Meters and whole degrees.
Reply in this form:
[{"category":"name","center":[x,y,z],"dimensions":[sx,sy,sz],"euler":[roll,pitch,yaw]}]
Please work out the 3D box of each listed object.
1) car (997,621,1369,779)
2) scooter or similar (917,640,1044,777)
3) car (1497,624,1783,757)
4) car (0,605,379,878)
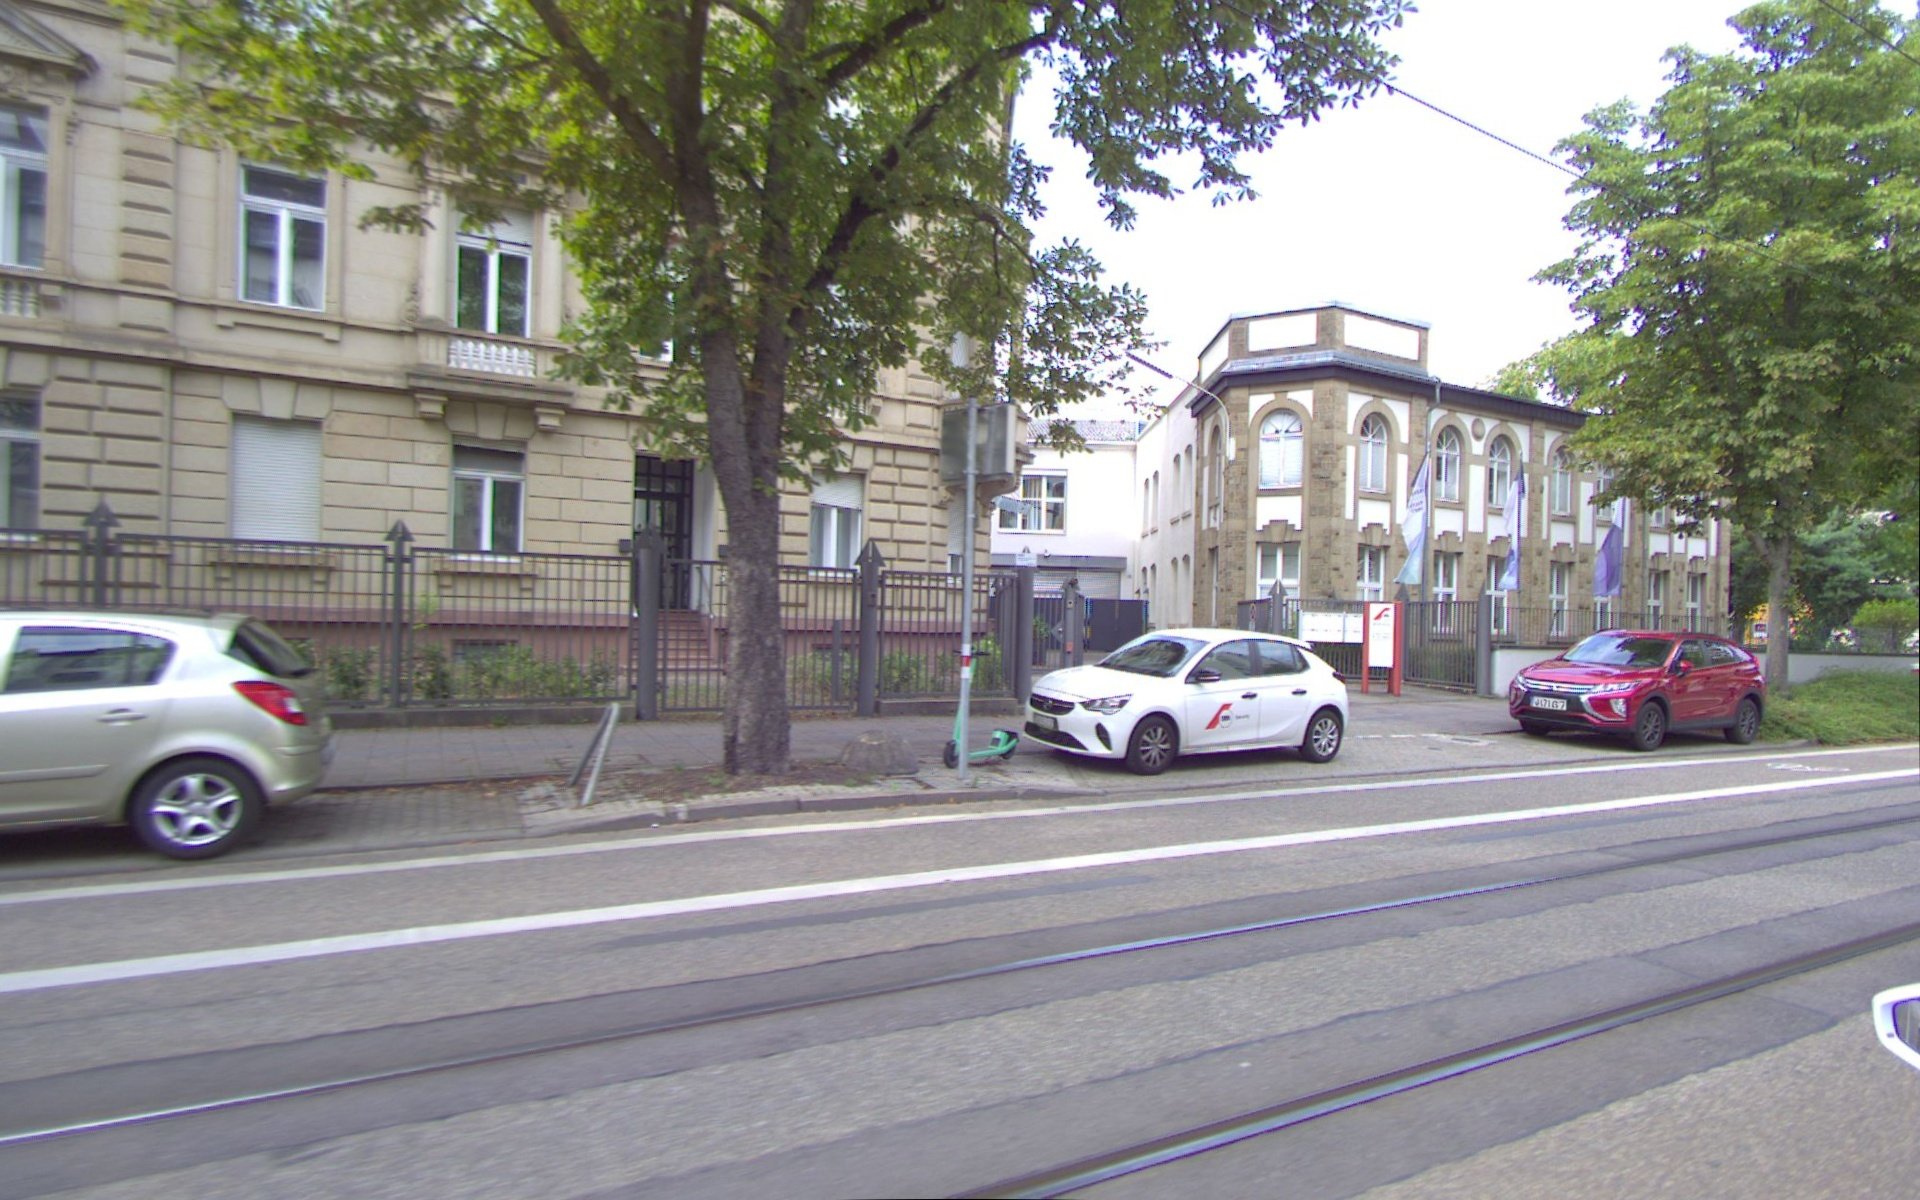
[{"category":"car","center":[2.579,1.048,11.459],"dimensions":[3.975,1.443,1.713],"euler":[2,1,-29]},{"category":"scooter or similar","center":[0.226,1.027,9.958],"dimensions":[0.554,1.239,1.318],"euler":[1,-1,38]},{"category":"car","center":[10.335,1.293,15.197],"dimensions":[4.487,1.677,1.713],"euler":[2,1,-29]},{"category":"car","center":[-5.929,0.787,6.132],"dimensions":[4.029,1.487,1.594],"euler":[2,0,-29]}]
